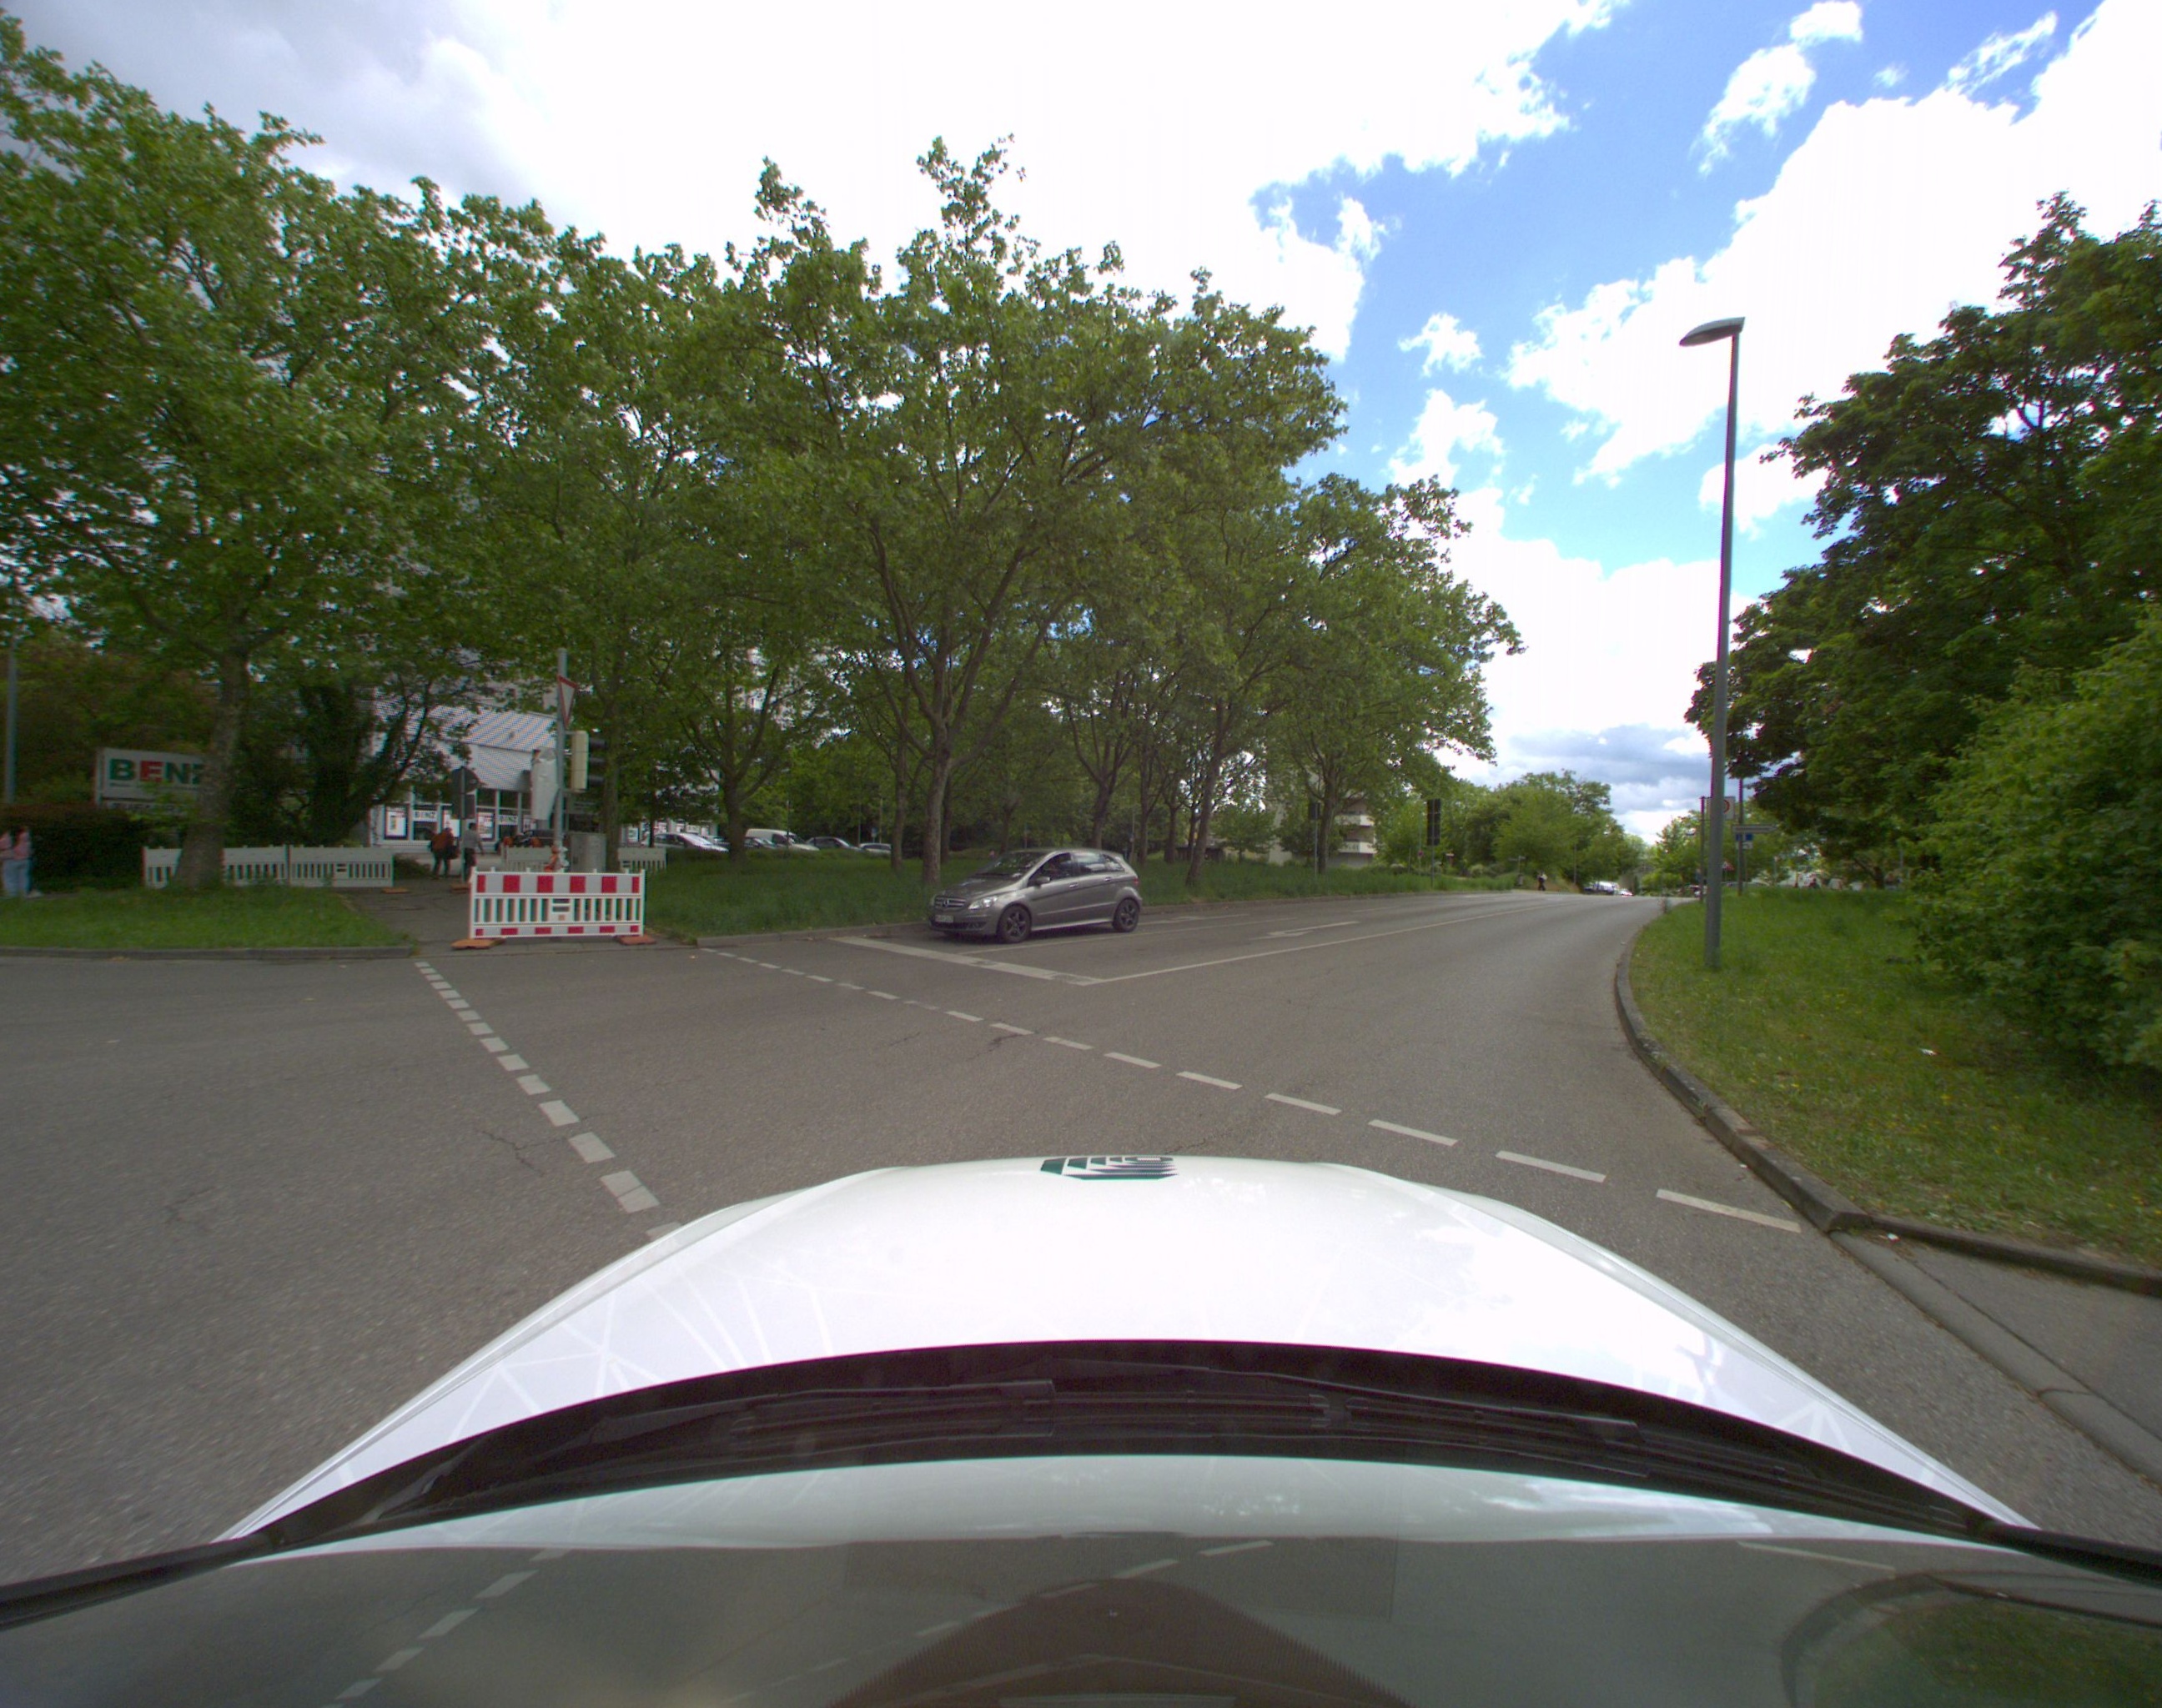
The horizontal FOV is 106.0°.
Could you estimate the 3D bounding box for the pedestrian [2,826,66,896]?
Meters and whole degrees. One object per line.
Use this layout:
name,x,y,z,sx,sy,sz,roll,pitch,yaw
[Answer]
pedestrian,-22.777,0.145,17.730,0.724,1.489,0.691,1,-1,-41

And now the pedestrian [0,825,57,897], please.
pedestrian,-22.247,0.151,17.174,0.692,1.489,0.691,1,-1,-42

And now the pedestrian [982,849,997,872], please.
pedestrian,-8.053,0.599,71.958,0.977,1.950,1.087,2,-1,10

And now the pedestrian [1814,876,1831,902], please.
pedestrian,50.280,2.379,55.214,0.828,1.722,0.767,1,0,-45

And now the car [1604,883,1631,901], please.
car,49.181,3.467,74.640,1.749,1.500,3.959,0,-2,38

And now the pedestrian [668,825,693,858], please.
pedestrian,-19.445,-0.612,39.513,0.789,1.586,0.801,0,-1,37

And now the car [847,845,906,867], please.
car,-14.664,0.148,58.426,3.702,1.500,1.742,0,0,19

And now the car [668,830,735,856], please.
car,-25.407,-0.745,54.506,3.781,1.634,1.680,2,0,15

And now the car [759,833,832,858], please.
car,-16.736,-0.481,47.775,3.851,1.465,1.490,0,0,14

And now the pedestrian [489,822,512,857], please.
pedestrian,-29.104,-0.717,40.848,0.731,1.745,0.623,0,-1,17

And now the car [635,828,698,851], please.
car,-26.155,-0.894,51.451,3.373,1.404,1.490,0,0,14

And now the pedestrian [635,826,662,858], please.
pedestrian,-25.893,-0.725,48.782,1.046,1.871,1.082,0,-1,37

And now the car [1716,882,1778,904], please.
car,54.868,3.184,67.145,3.885,1.631,1.782,0,-5,42

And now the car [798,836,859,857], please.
car,-15.662,-0.477,50.561,3.215,1.255,1.701,0,0,14

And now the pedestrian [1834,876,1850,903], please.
pedestrian,51.215,2.391,54.803,0.793,1.722,0.828,1,0,42

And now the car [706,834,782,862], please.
car,-17.279,-0.289,41.762,3.372,1.404,1.491,0,0,16

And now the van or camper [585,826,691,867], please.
van or camper,-19.355,-0.347,35.607,3.955,1.684,1.855,1,1,18

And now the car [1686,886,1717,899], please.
car,90.504,5.601,118.883,3.506,1.654,1.631,1,-1,34

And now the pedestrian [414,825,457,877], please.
pedestrian,-19.126,-0.085,24.128,0.764,1.538,0.658,0,-1,15

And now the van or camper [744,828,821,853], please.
van or camper,-16.479,-0.740,44.997,3.737,1.356,1.523,0,0,12

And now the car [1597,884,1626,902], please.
car,46.128,3.368,70.783,1.749,1.500,3.959,0,-1,38

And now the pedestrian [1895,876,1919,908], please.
pedestrian,42.997,1.981,42.401,0.827,1.596,0.768,1,-1,-38

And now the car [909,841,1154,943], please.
car,-0.749,0.597,14.799,1.750,1.586,4.438,0,0,44

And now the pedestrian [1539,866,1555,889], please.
pedestrian,35.662,1.787,62.384,0.816,1.722,0.778,1,0,6

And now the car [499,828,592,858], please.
car,-27.634,-0.550,42.023,4.220,1.500,1.742,0,0,19

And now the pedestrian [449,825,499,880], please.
pedestrian,-17.919,-0.048,24.044,0.789,1.586,0.853,0,-1,8
